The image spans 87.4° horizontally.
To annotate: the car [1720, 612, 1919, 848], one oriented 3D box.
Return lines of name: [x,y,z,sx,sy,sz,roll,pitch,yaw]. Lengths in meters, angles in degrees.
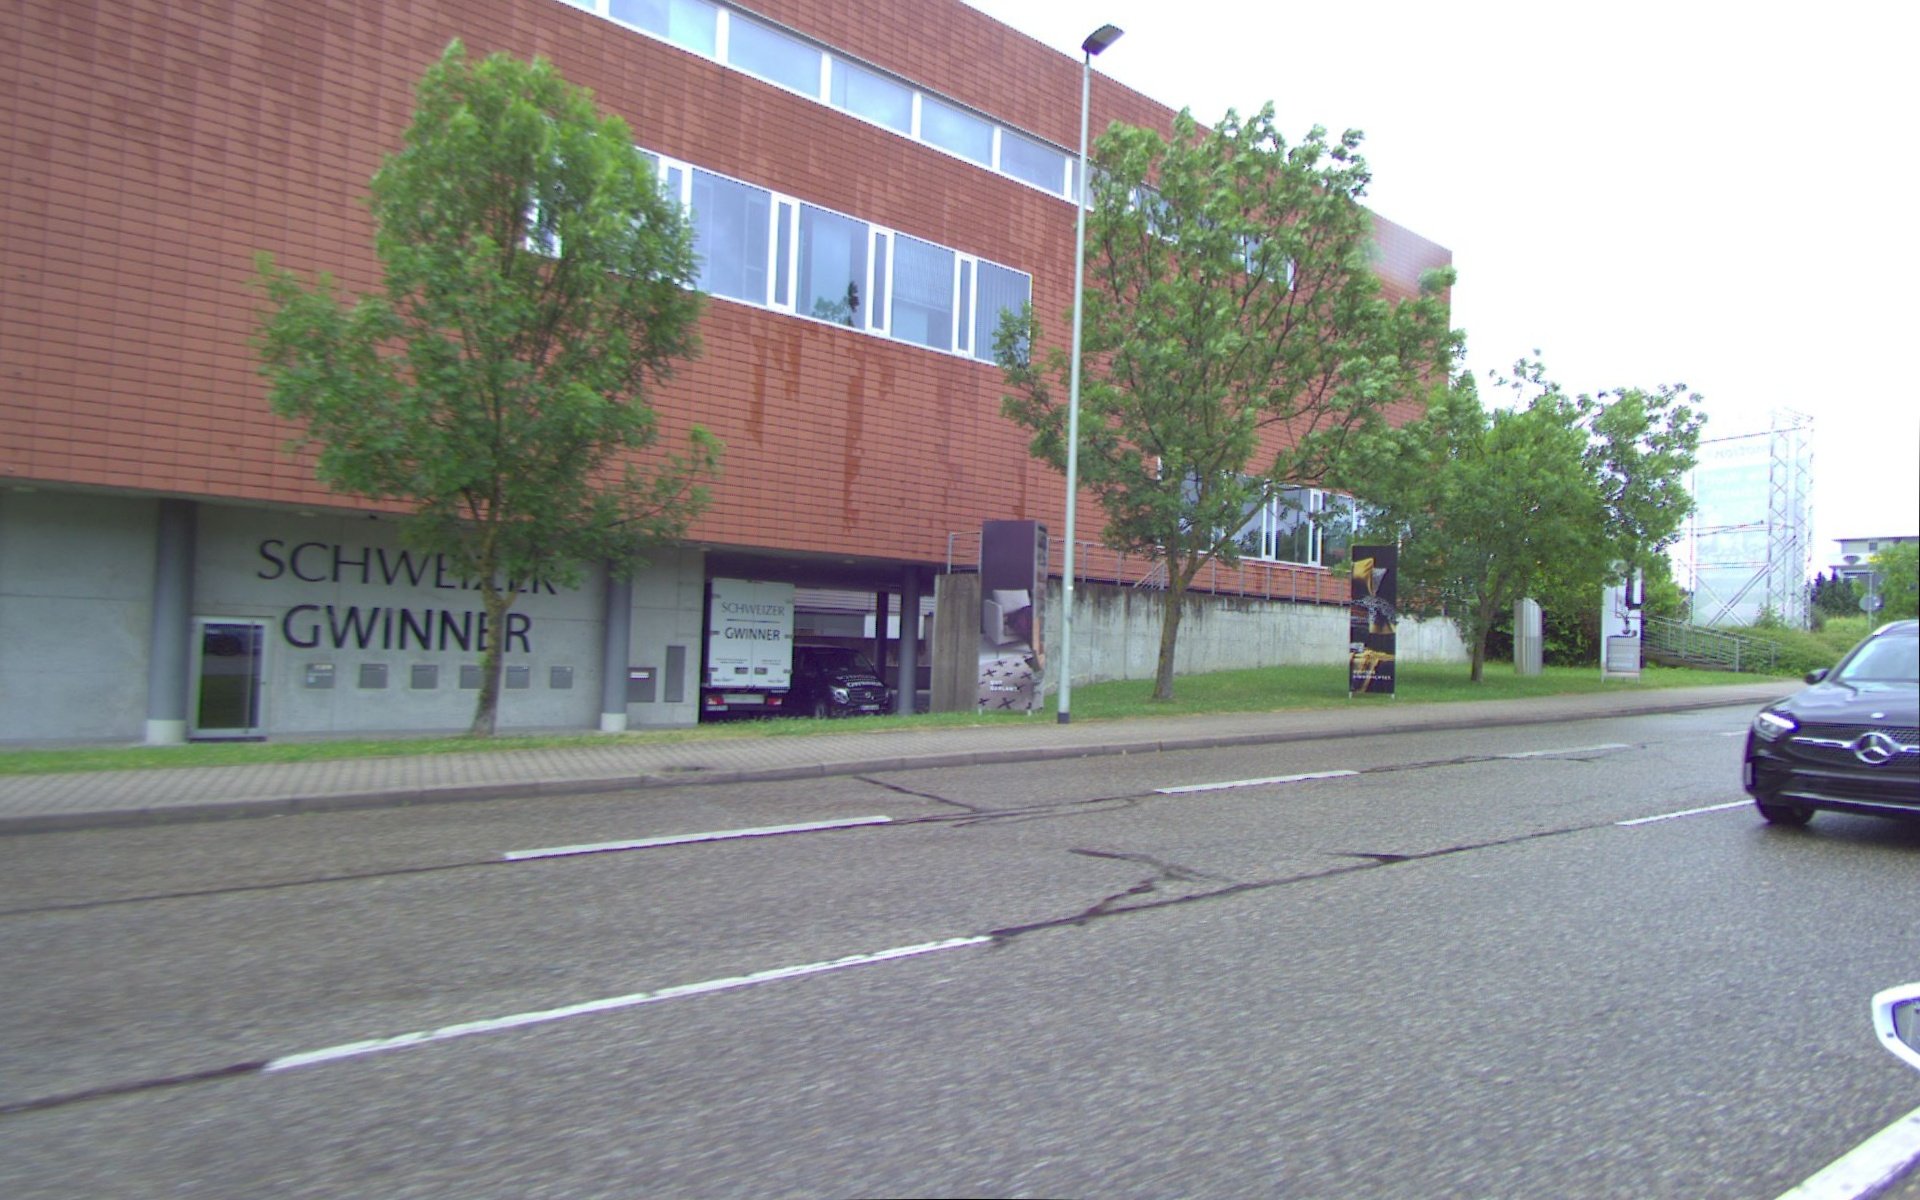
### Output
car: [8.212,0.927,8.092,4.271,1.598,1.850,1,-3,-31]

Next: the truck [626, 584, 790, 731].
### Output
truck: [-6.681,1.432,26.073,2.004,3.351,6.094,2,-3,-35]

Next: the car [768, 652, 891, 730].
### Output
car: [-3.471,2.286,26.127,1.663,1.773,4.018,1,-2,-32]
